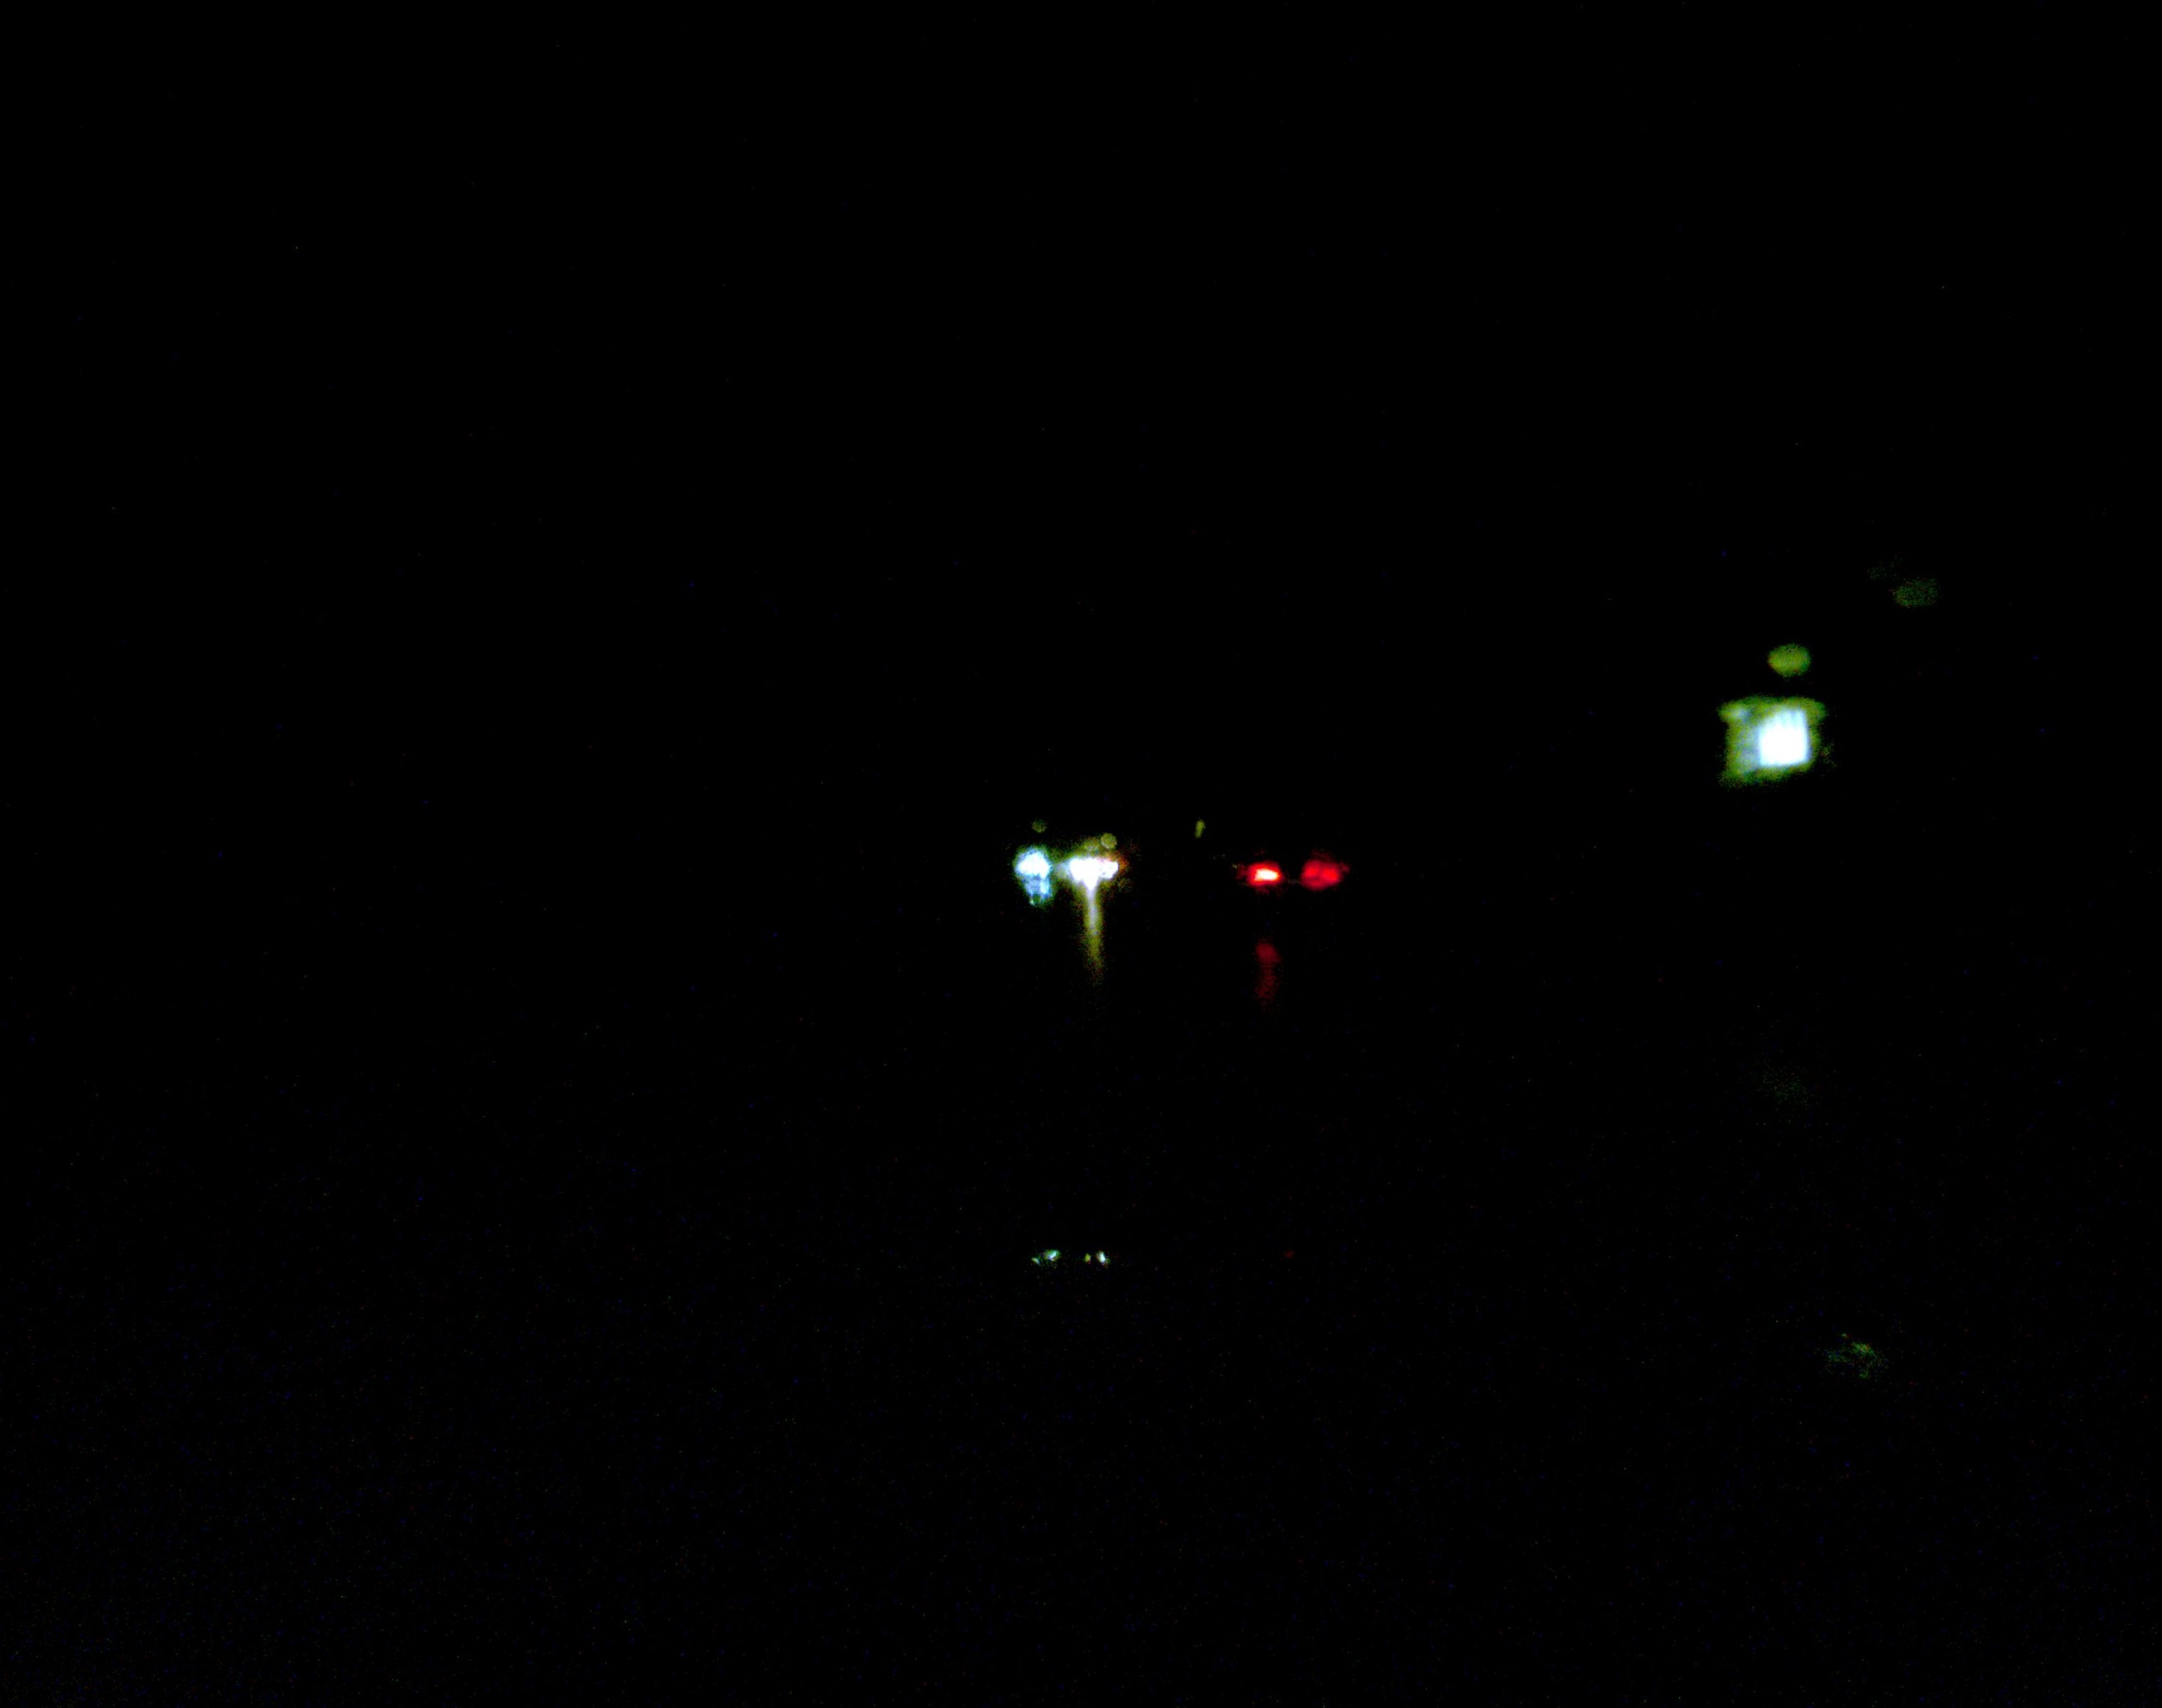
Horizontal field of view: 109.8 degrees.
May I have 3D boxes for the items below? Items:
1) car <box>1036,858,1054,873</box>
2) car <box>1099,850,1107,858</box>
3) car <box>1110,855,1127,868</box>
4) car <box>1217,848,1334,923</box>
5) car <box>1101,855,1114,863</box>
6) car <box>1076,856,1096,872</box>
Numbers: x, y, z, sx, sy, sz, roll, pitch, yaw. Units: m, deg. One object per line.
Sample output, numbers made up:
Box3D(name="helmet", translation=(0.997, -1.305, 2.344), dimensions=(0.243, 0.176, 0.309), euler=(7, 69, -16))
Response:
Box3D(name="car", translation=(-4.209, 1.333, 88.812), dimensions=(1.999, 1.575, 3.999), euler=(-1, 0, -2))
Box3D(name="car", translation=(4.717, 0.069, 163.760), dimensions=(1.795, 1.681, 4.000), euler=(-2, 0, 1))
Box3D(name="car", translation=(4.696, 0.909, 94.887), dimensions=(1.998, 1.489, 3.775), euler=(-2, 0, 4))
Box3D(name="car", translation=(4.697, 0.691, 18.909), dimensions=(1.813, 1.612, 3.999), euler=(-1, 0, -1))
Box3D(name="car", translation=(4.565, 0.836, 129.349), dimensions=(1.999, 1.410, 4.665), euler=(-2, 0, 0))
Box3D(name="car", translation=(0.520, 1.052, 80.609), dimensions=(1.999, 1.575, 4.000), euler=(-2, 0, 0))
